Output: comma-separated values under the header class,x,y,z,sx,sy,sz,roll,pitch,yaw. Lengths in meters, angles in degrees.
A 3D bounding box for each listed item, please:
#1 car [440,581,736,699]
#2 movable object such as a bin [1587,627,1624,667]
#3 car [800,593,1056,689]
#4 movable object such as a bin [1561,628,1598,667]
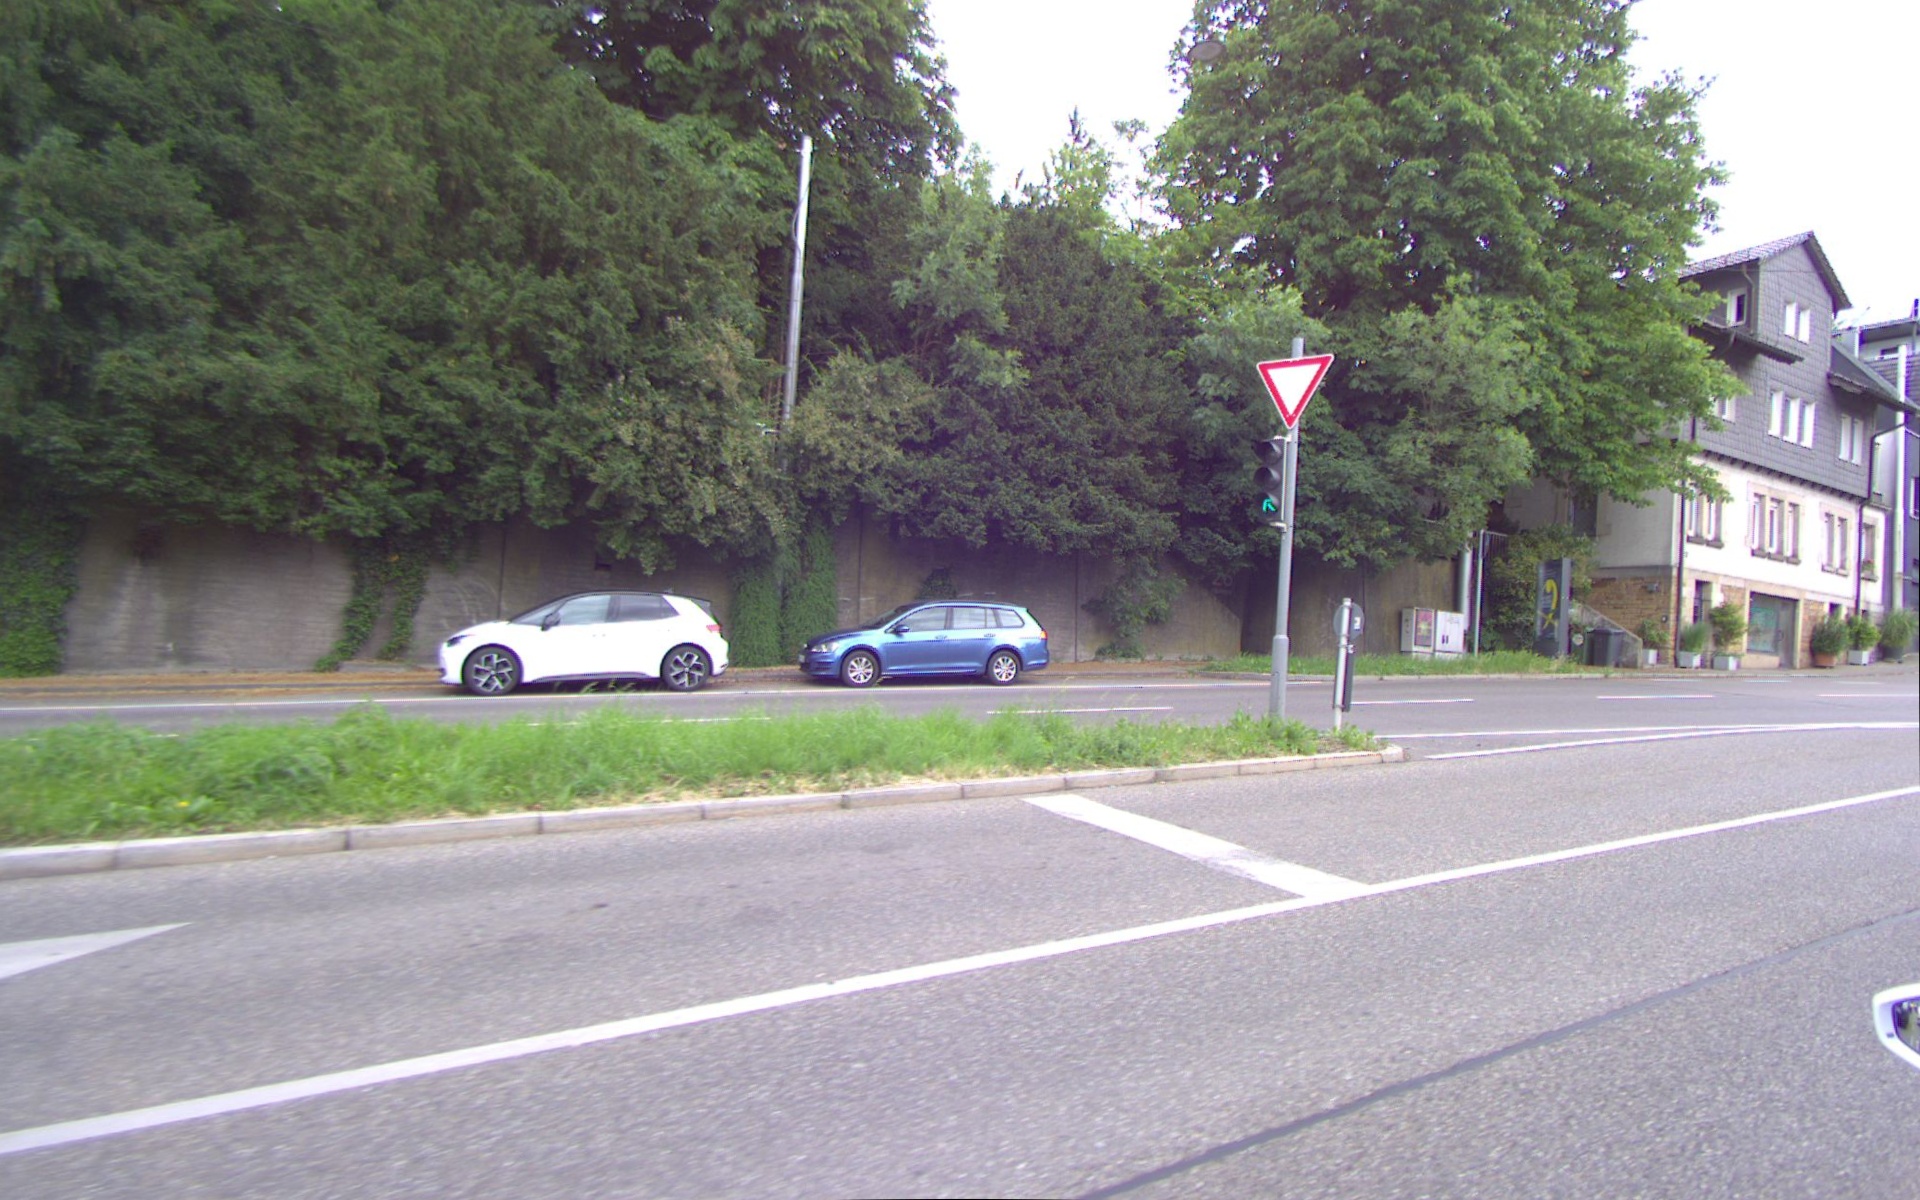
class,x,y,z,sx,sy,sz,roll,pitch,yaw
car,-5.757,0.570,15.693,4.115,1.651,1.774,1,1,-26
movable object such as a bin,17.683,1.286,27.521,0.636,1.032,0.538,3,-1,-16
car,-0.572,0.689,17.944,4.238,1.549,1.709,1,1,-22
movable object such as a bin,17.419,1.333,28.231,0.636,1.032,0.577,3,-1,-16
